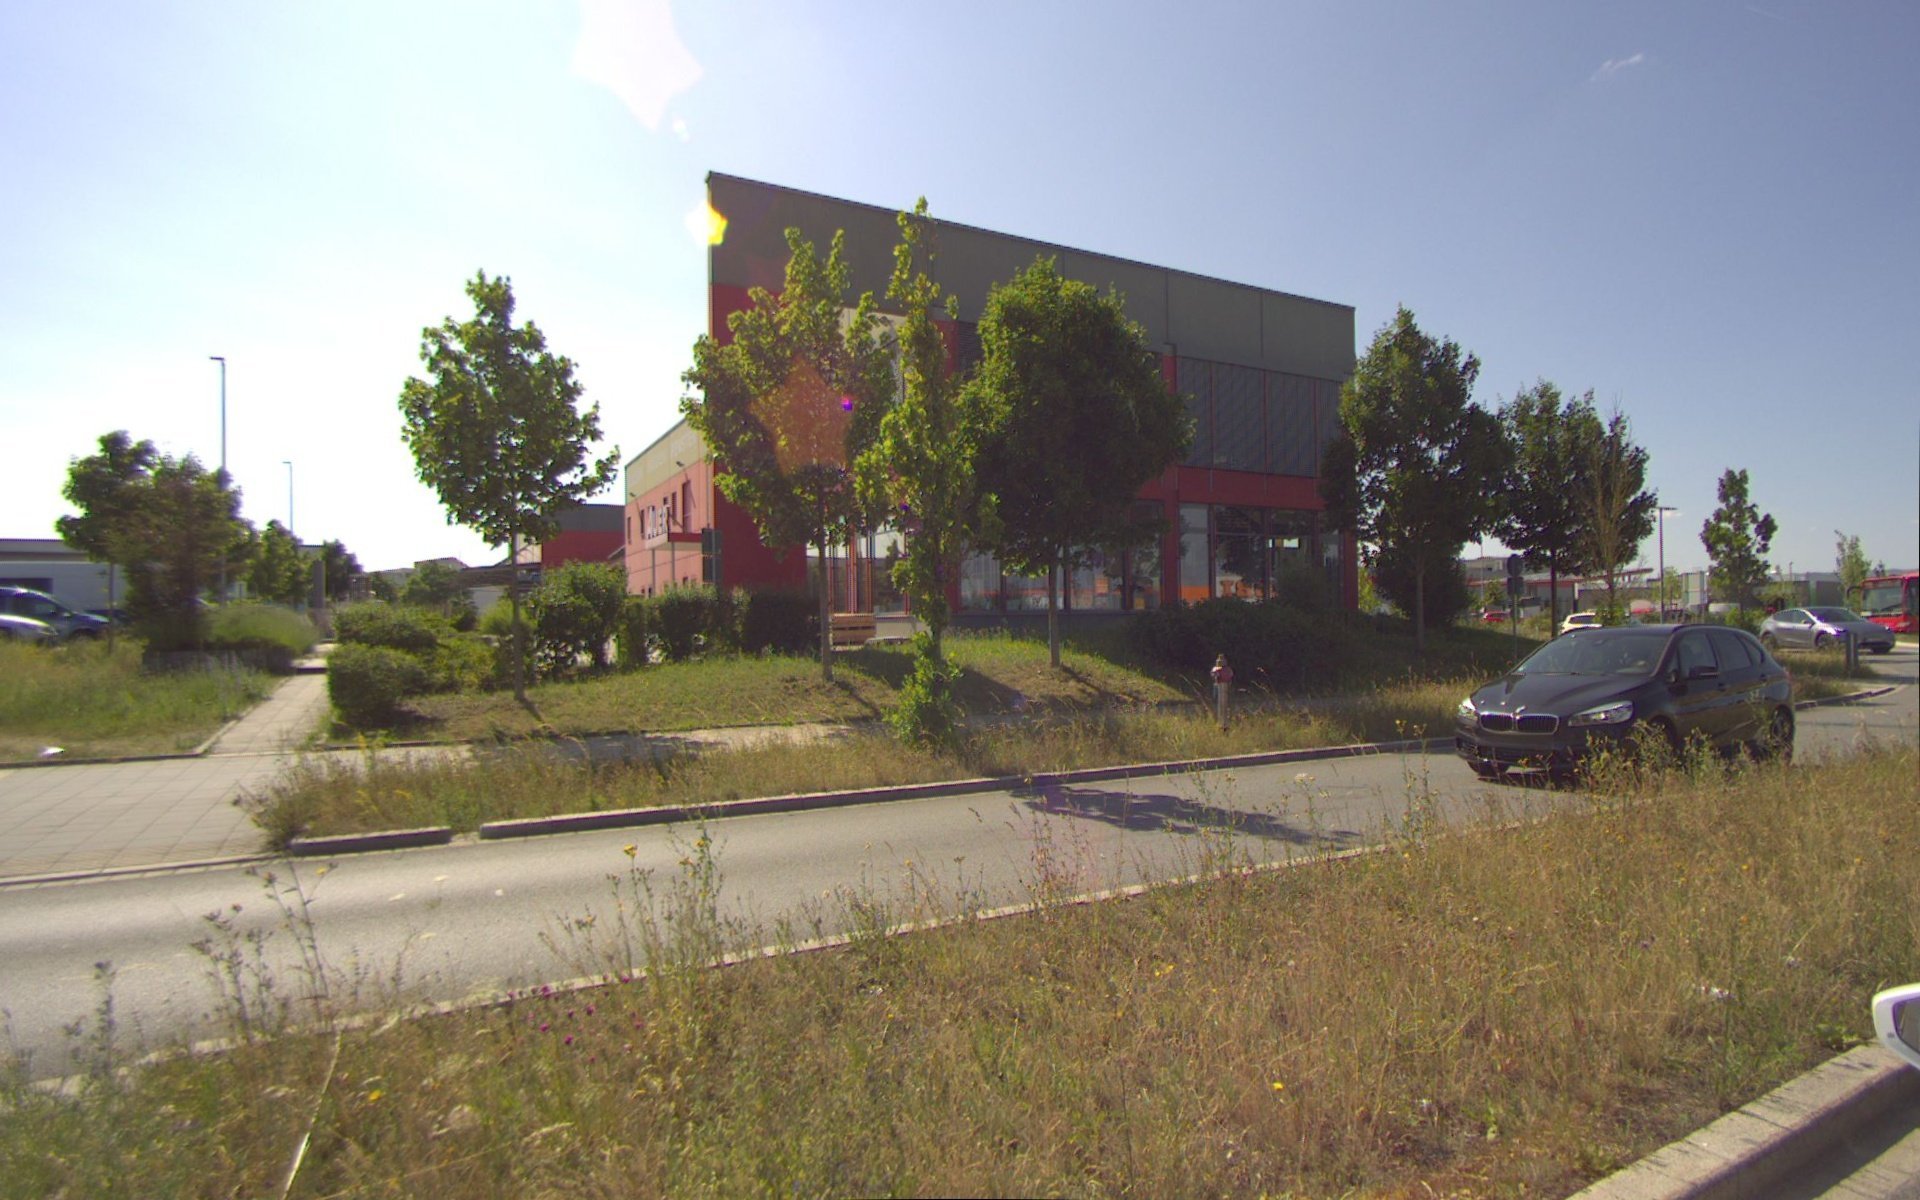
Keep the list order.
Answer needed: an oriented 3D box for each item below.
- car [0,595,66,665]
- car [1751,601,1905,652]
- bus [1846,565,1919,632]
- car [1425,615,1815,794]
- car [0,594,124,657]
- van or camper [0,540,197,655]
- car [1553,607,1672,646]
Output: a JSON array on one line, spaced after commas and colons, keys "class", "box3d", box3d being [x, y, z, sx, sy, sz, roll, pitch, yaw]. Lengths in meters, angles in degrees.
[{"class": "car", "box3d": [-23.654, 0.702, 23.335, 4.037, 1.636, 1.652, 1, -1, -31]}, {"class": "car", "box3d": [30.565, 0.880, 35.587, 1.924, 1.647, 4.627, -2, 0, 9]}, {"class": "bus", "box3d": [50.034, -0.262, 48.619, 11.965, 3.119, 2.796, -2, -1, -2]}, {"class": "car", "box3d": [7.030, 0.981, 10.617, 4.191, 1.563, 1.750, 1, -4, -31]}, {"class": "car", "box3d": [-25.987, 0.709, 27.891, 4.037, 1.693, 1.652, 1, -1, -31]}, {"class": "van or camper", "box3d": [-27.803, -0.038, 30.439, 7.148, 3.314, 2.419, 1, -1, -30]}, {"class": "car", "box3d": [30.903, 1.301, 47.721, 1.818, 1.687, 4.573, -2, -2, -18]}]
